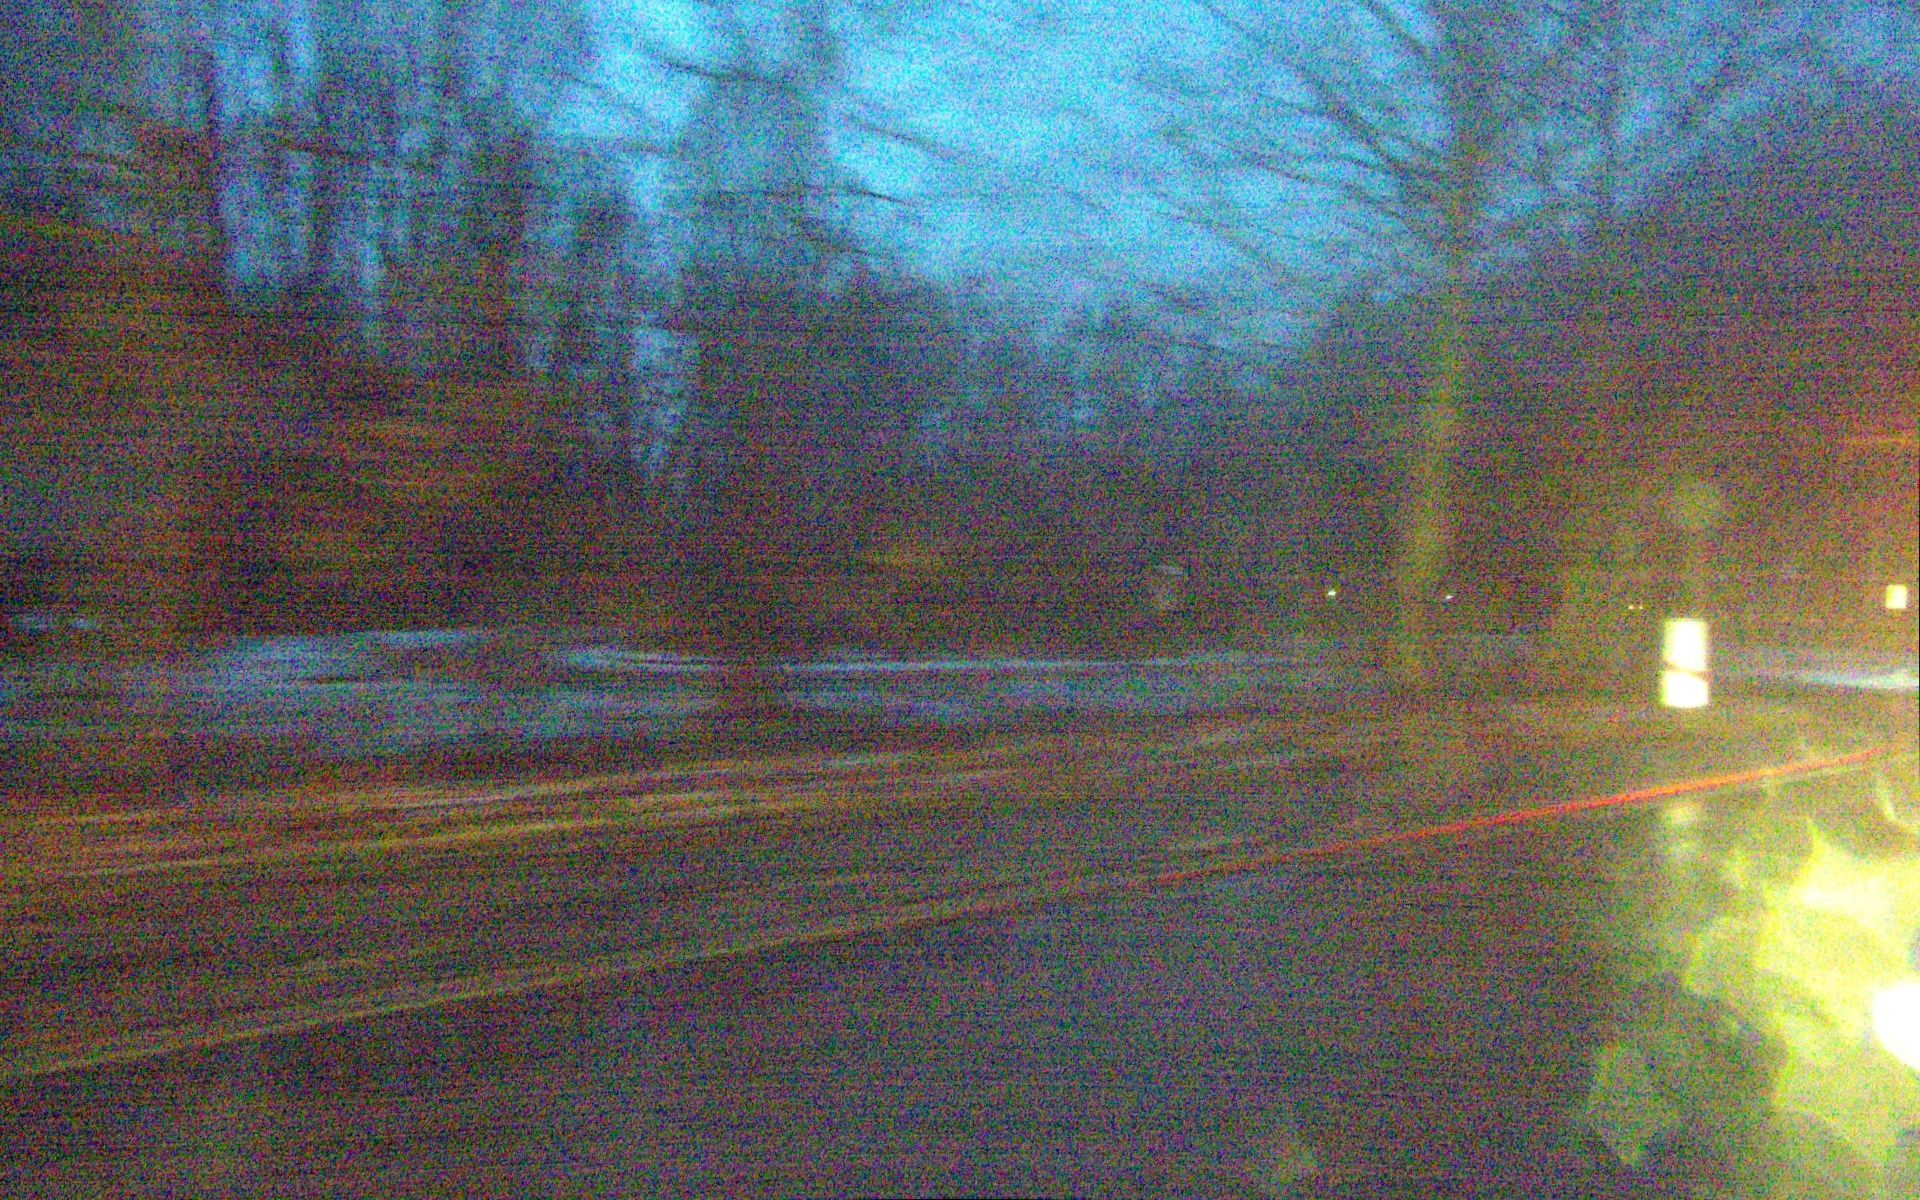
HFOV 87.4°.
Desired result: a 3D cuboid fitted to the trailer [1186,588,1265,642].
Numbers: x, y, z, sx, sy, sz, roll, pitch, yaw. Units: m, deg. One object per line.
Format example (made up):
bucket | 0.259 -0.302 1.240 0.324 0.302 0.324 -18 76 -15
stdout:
trailer | 11.840 0.702 45.079 1.939 2.247 3.803 2 -2 -11
